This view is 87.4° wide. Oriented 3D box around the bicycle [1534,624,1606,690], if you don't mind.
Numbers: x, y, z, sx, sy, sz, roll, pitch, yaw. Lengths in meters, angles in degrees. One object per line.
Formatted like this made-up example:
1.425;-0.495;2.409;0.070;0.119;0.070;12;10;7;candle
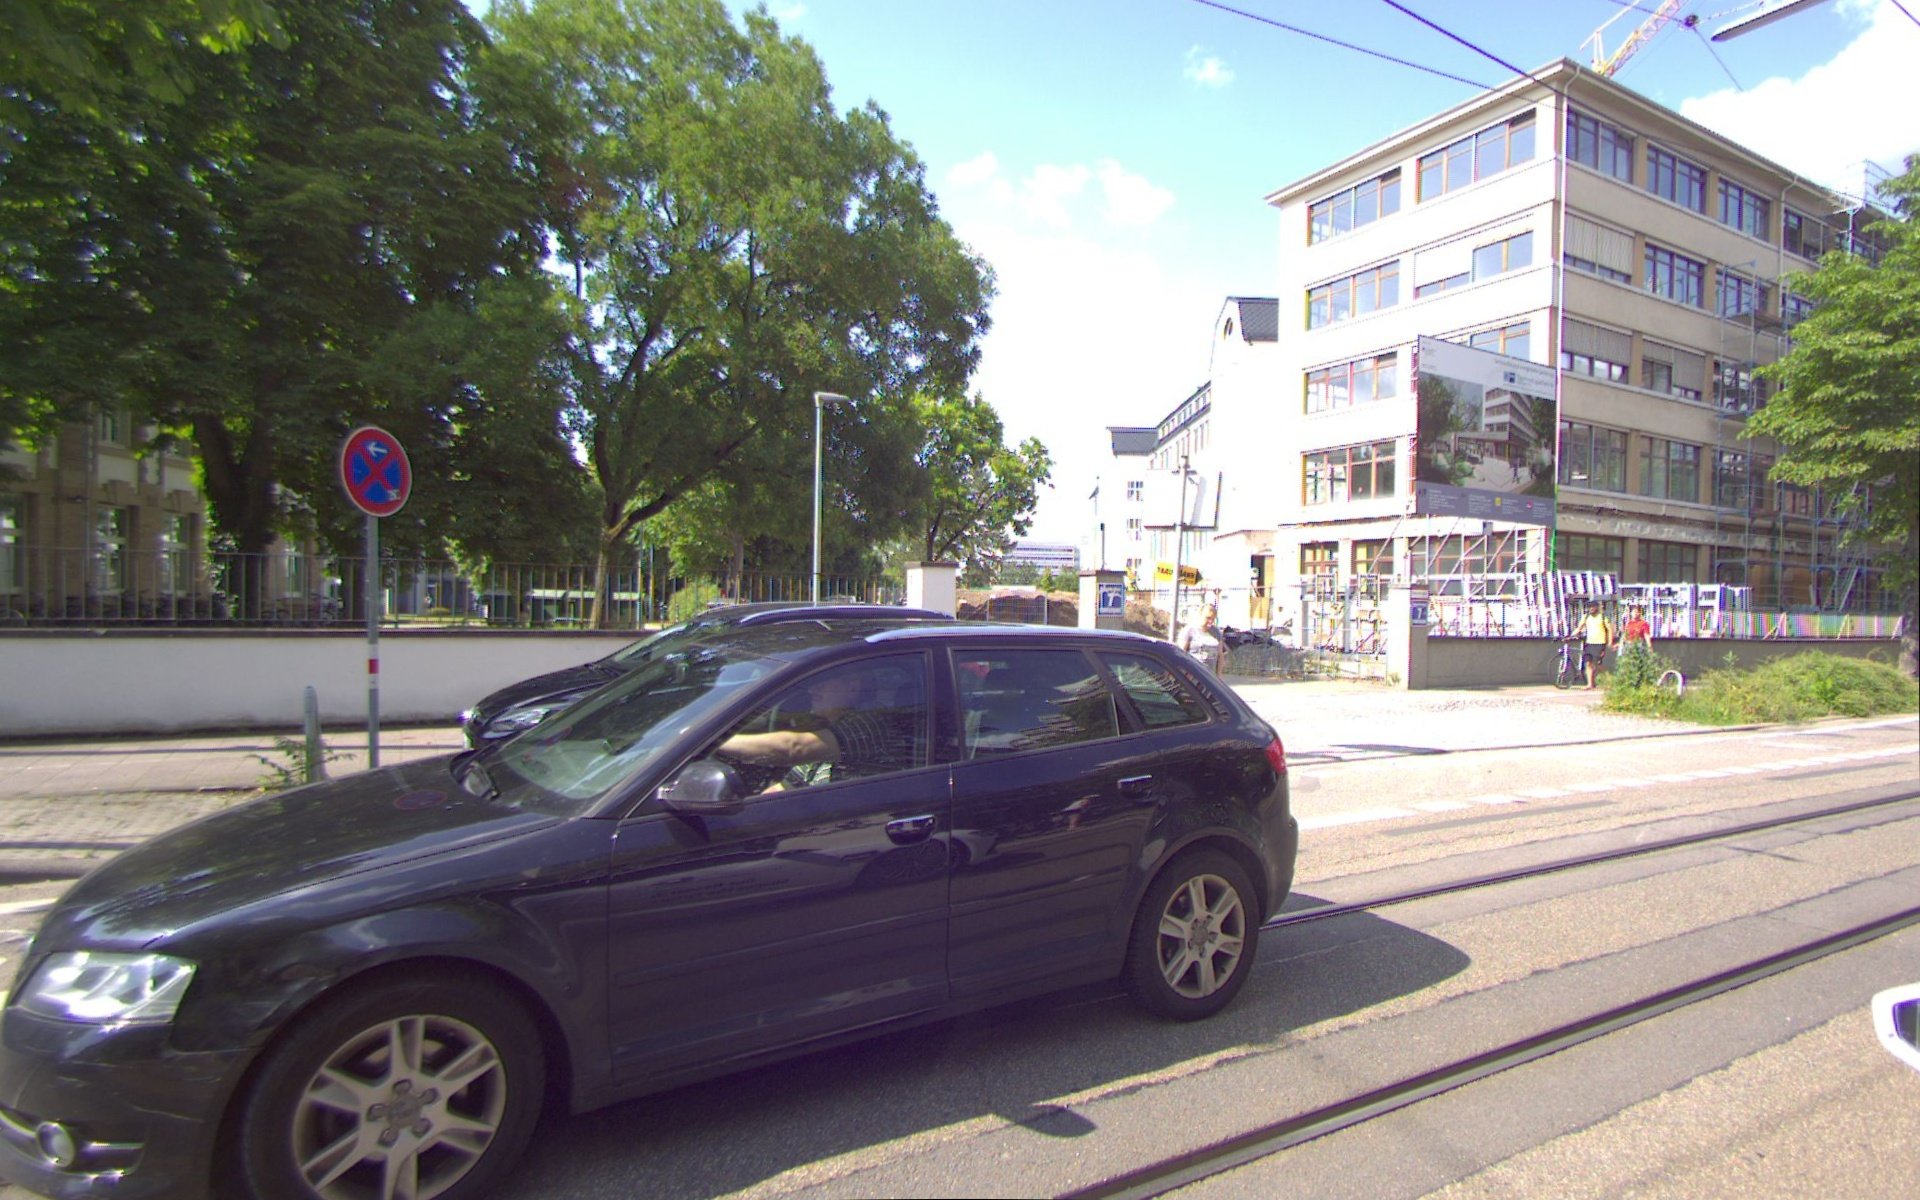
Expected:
12.510;1.153;20.590;1.716;1.303;0.444;1;0;-28;bicycle

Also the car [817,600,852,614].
-13.845;0.790;110.926;3.594;1.509;1.785;1;0;0;car

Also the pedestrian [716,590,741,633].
-8.958;0.442;38.890;0.751;1.642;0.594;1;0;9;pedestrian

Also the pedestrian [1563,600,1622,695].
12.683;0.938;20.151;0.655;1.817;0.702;1;3;-35;pedestrian

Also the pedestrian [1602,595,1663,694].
13.090;0.845;19.572;0.655;1.857;0.702;-1;4;-35;pedestrian

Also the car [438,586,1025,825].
-1.797;0.730;8.547;4.543;1.536;1.739;2;1;-33;car

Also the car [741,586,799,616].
-13.524;0.044;71.594;3.926;2.040;1.998;1;0;-7;car

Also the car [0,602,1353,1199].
-0.564;0.766;3.690;3.954;1.394;1.714;2;-2;-31;car

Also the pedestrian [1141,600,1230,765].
2.401;0.841;10.674;0.714;1.659;0.691;2;1;27;pedestrian

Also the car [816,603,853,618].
-12.897;1.057;103.549;3.596;1.509;1.785;1;0;-3;car
